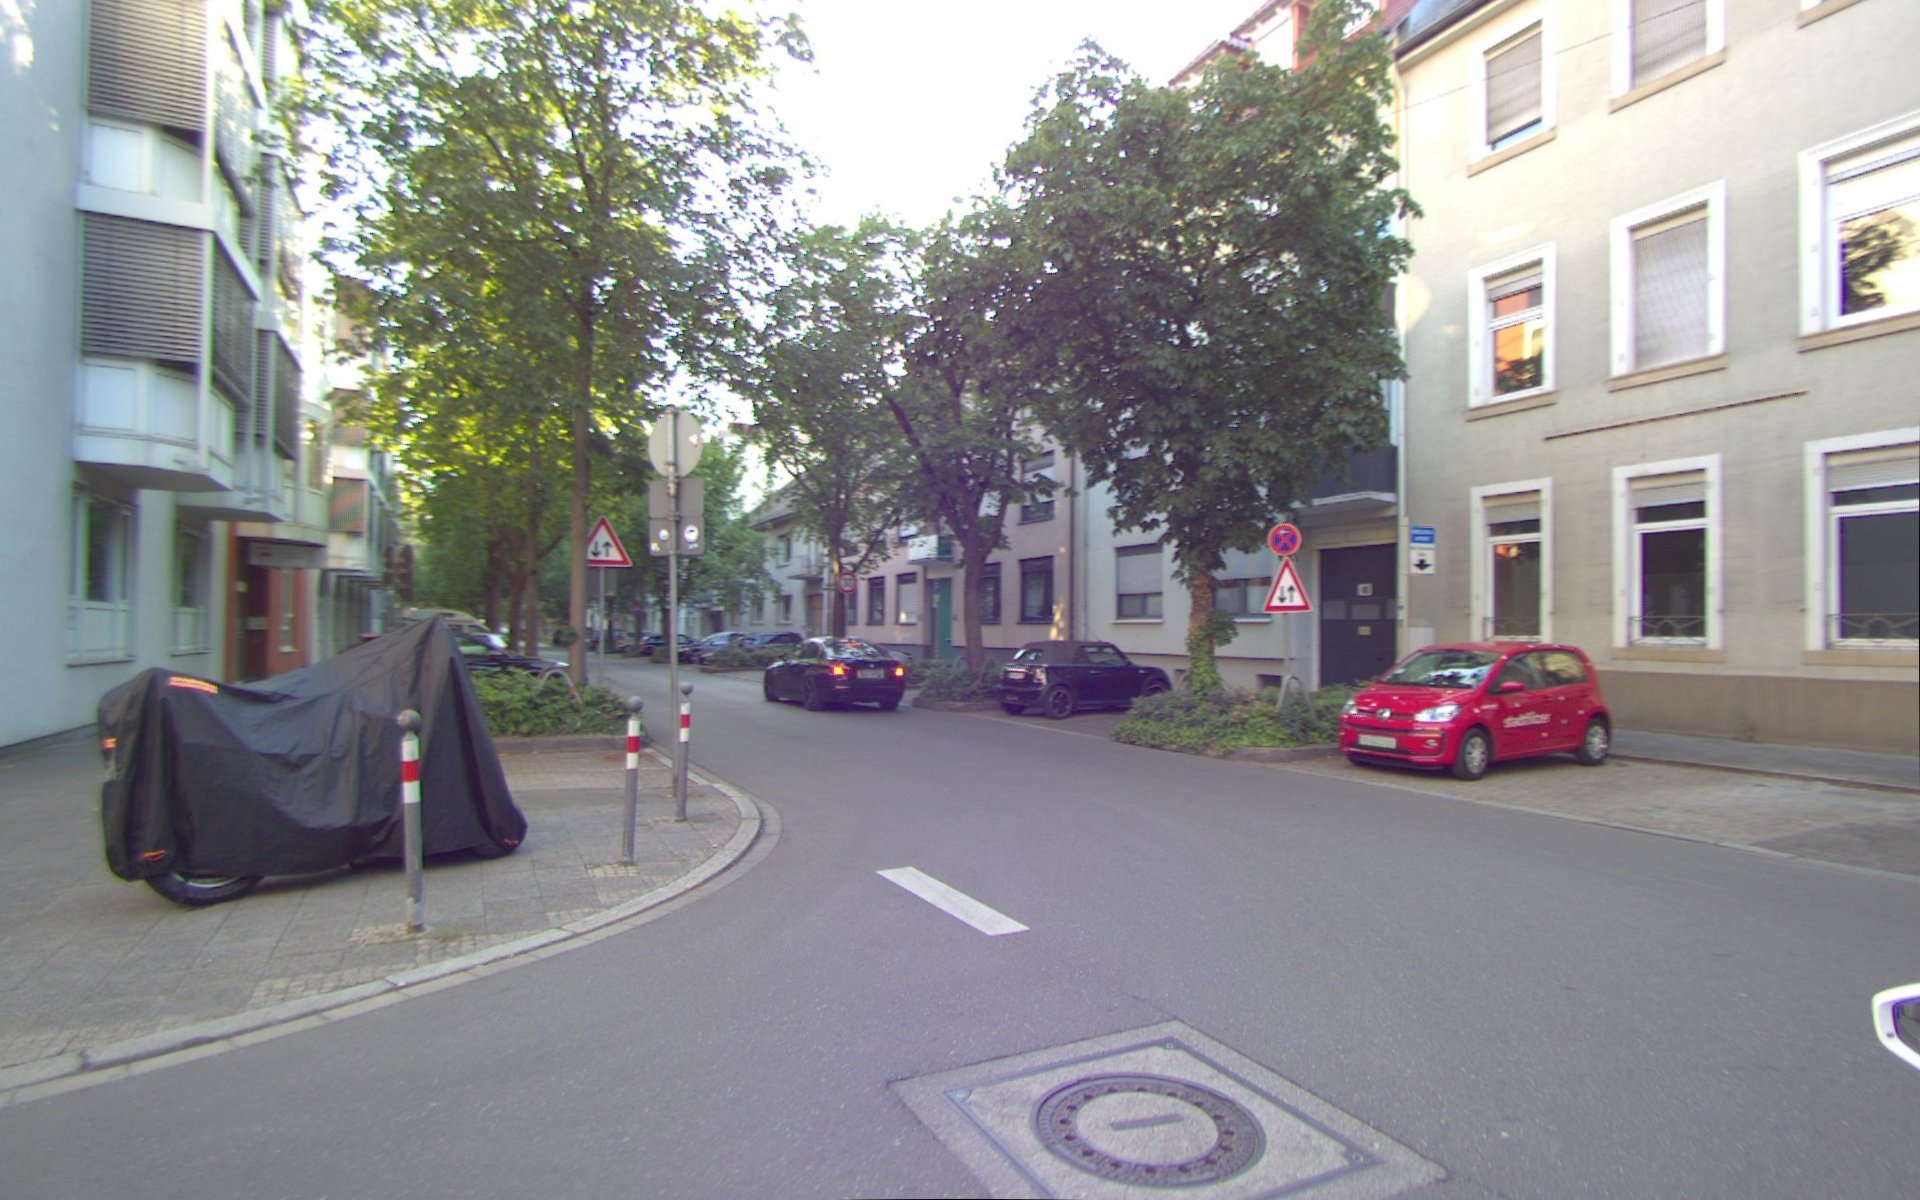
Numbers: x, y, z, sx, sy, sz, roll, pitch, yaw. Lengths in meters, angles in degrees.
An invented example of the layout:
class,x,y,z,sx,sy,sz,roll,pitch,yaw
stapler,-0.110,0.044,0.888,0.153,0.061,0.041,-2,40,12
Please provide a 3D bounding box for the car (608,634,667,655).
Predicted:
class,x,y,z,sx,sy,sz,roll,pitch,yaw
car,-22.125,3.039,68.881,3.624,1.411,1.554,1,-1,-29

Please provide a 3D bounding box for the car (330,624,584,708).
class,x,y,z,sx,sy,sz,roll,pitch,yaw
car,-9.966,1.318,20.149,4.316,1.529,1.822,3,-2,-28

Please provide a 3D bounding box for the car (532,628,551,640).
class,x,y,z,sx,sy,sz,roll,pitch,yaw
car,-55.873,4.510,134.143,1.975,1.572,3.973,1,-2,-27

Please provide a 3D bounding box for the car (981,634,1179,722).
class,x,y,z,sx,sy,sz,roll,pitch,yaw
car,2.400,1.462,19.832,3.673,1.447,1.613,-1,0,-32

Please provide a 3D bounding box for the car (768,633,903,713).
class,x,y,z,sx,sy,sz,roll,pitch,yaw
car,-2.757,1.457,21.290,1.742,1.469,4.645,1,-2,-21

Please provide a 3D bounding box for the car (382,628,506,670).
class,x,y,z,sx,sy,sz,roll,pitch,yaw
car,-19.677,1.879,38.435,4.093,1.491,1.629,3,-2,-28

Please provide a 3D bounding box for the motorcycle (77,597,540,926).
class,x,y,z,sx,sy,sz,roll,pitch,yaw
motorcycle,-3.663,0.808,5.853,0.660,1.576,2.150,-1,-2,42

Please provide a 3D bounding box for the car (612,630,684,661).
class,x,y,z,sx,sy,sz,roll,pitch,yaw
car,-17.624,2.548,56.744,3.624,1.557,1.554,-1,-1,-29

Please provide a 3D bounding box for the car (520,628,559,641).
class,x,y,z,sx,sy,sz,roll,pitch,yaw
car,-44.254,3.639,105.667,3.624,1.411,1.554,2,-2,-29

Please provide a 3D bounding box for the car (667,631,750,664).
class,x,y,z,sx,sy,sz,roll,pitch,yaw
car,-12.443,2.306,49.701,3.758,1.550,1.554,1,-1,-29

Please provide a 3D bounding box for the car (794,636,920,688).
class,x,y,z,sx,sy,sz,roll,pitch,yaw
car,-3.215,1.900,31.393,3.624,1.498,1.554,1,-1,-29

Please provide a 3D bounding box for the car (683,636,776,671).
class,x,y,z,sx,sy,sz,roll,pitch,yaw
car,-9.892,2.290,43.159,3.624,1.411,1.554,1,-1,-29

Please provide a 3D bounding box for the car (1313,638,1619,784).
class,x,y,z,sx,sy,sz,roll,pitch,yaw
car,6.131,1.223,12.111,3.623,1.495,1.554,1,-1,-29

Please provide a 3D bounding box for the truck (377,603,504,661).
class,x,y,z,sx,sy,sz,roll,pitch,yaw
truck,-23.599,1.477,45.835,4.950,2.473,1.903,3,-1,-26
